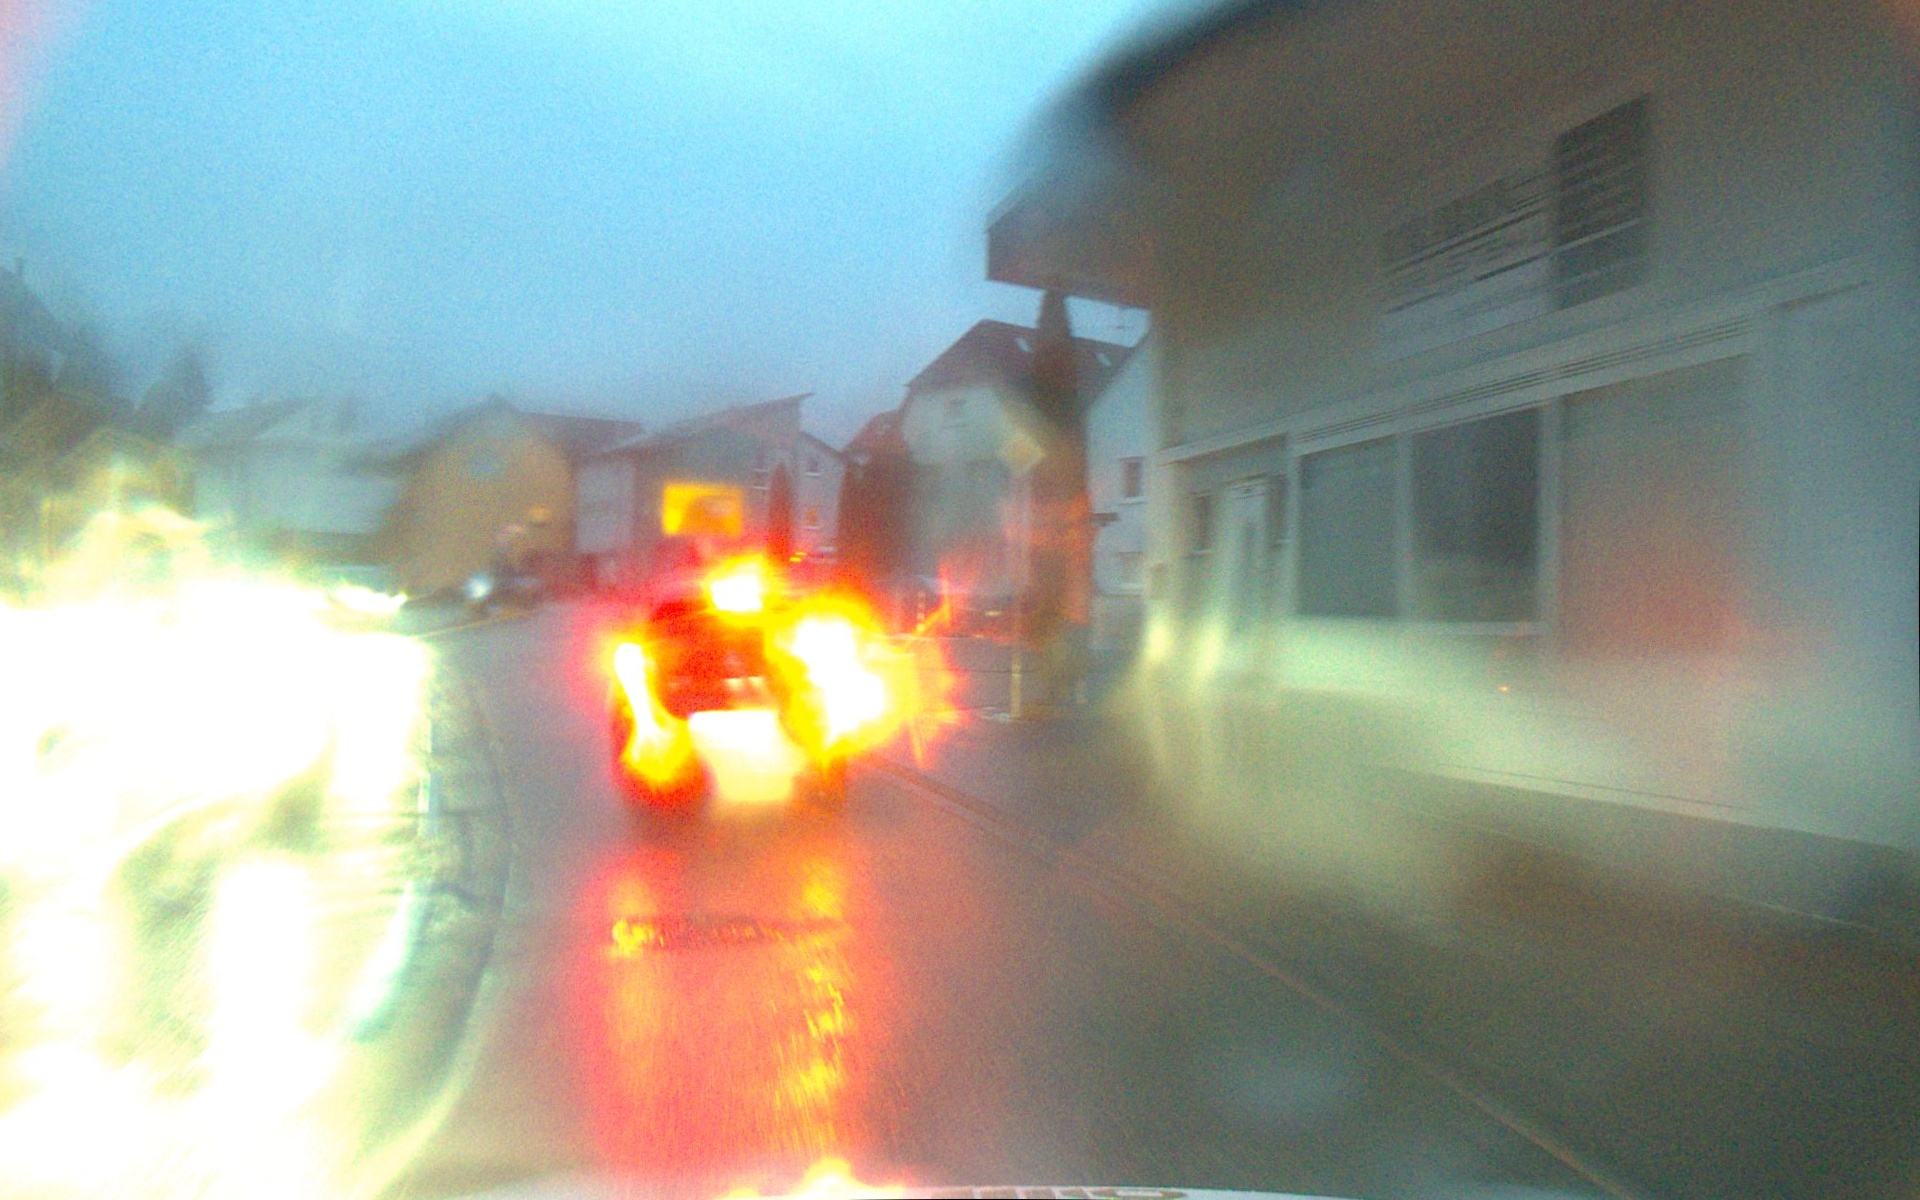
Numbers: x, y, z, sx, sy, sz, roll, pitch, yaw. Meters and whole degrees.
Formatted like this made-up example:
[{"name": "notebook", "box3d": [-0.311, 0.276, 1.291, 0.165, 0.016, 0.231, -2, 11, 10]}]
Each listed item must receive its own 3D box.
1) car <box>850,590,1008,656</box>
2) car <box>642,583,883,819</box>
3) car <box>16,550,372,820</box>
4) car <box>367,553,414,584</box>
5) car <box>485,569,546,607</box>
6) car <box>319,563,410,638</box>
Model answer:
[{"name": "car", "box3d": [-0.898, 0.580, 45.304, 1.801, 1.657, 4.478, -2, 2, -43]}, {"name": "car", "box3d": [-1.573, 0.632, 12.447, 1.518, 1.491, 3.690, 1, 0, -10]}, {"name": "car", "box3d": [-5.536, 0.455, 12.529, 1.848, 1.640, 4.580, 0, 1, -17]}, {"name": "car", "box3d": [-32.913, -1.815, 95.596, 1.971, 1.672, 3.964, 1, 1, -28]}, {"name": "car", "box3d": [-21.324, -0.595, 79.227, 1.971, 1.672, 3.964, 1, 1, -28]}, {"name": "car", "box3d": [-14.660, -0.024, 40.913, 1.882, 1.682, 3.981, 2, 1, -17]}]
